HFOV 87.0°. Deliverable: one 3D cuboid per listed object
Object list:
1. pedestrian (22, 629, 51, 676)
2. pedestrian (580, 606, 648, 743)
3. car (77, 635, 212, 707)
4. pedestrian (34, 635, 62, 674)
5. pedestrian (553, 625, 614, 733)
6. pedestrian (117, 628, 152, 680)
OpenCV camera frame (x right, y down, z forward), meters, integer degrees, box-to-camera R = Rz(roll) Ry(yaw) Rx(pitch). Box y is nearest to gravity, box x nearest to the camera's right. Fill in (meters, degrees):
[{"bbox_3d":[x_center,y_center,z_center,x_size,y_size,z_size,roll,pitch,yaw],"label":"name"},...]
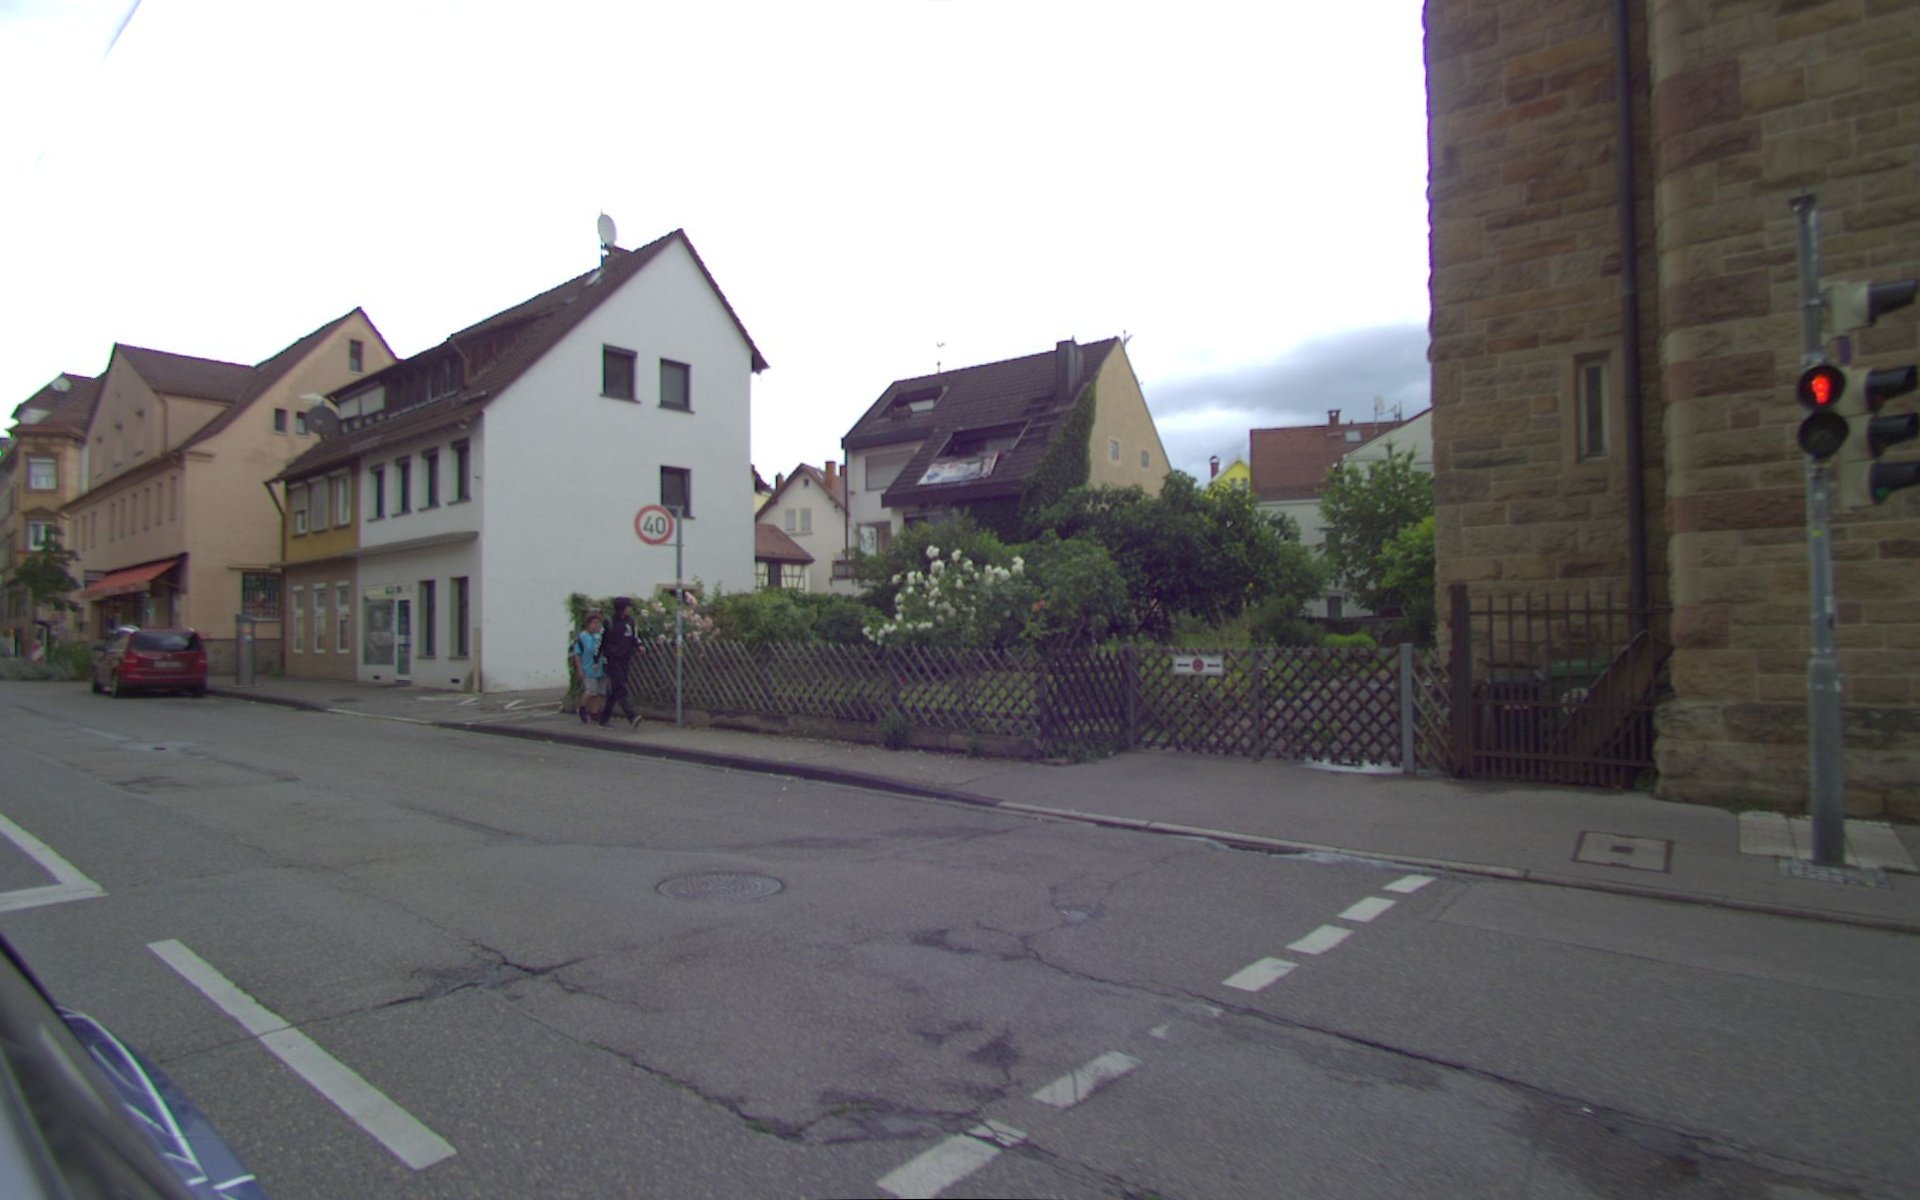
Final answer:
[{"bbox_3d":[-35.444,1.996,38.850,0.982,1.768,0.731,-3,-2,42],"label":"pedestrian"},{"bbox_3d":[-4.897,1.029,14.306,0.696,1.862,0.565,-2,0,41],"label":"pedestrian"},{"bbox_3d":[-19.865,1.668,24.581,4.447,1.586,1.685,-1,-4,40],"label":"car"},{"bbox_3d":[-37.556,2.235,41.684,0.982,1.546,0.731,-3,-2,40],"label":"pedestrian"},{"bbox_3d":[-5.648,1.165,15.182,0.696,1.566,0.565,-2,-1,41],"label":"pedestrian"},{"bbox_3d":[-27.128,1.766,33.254,0.757,1.641,0.723,-1,0,37],"label":"pedestrian"}]
